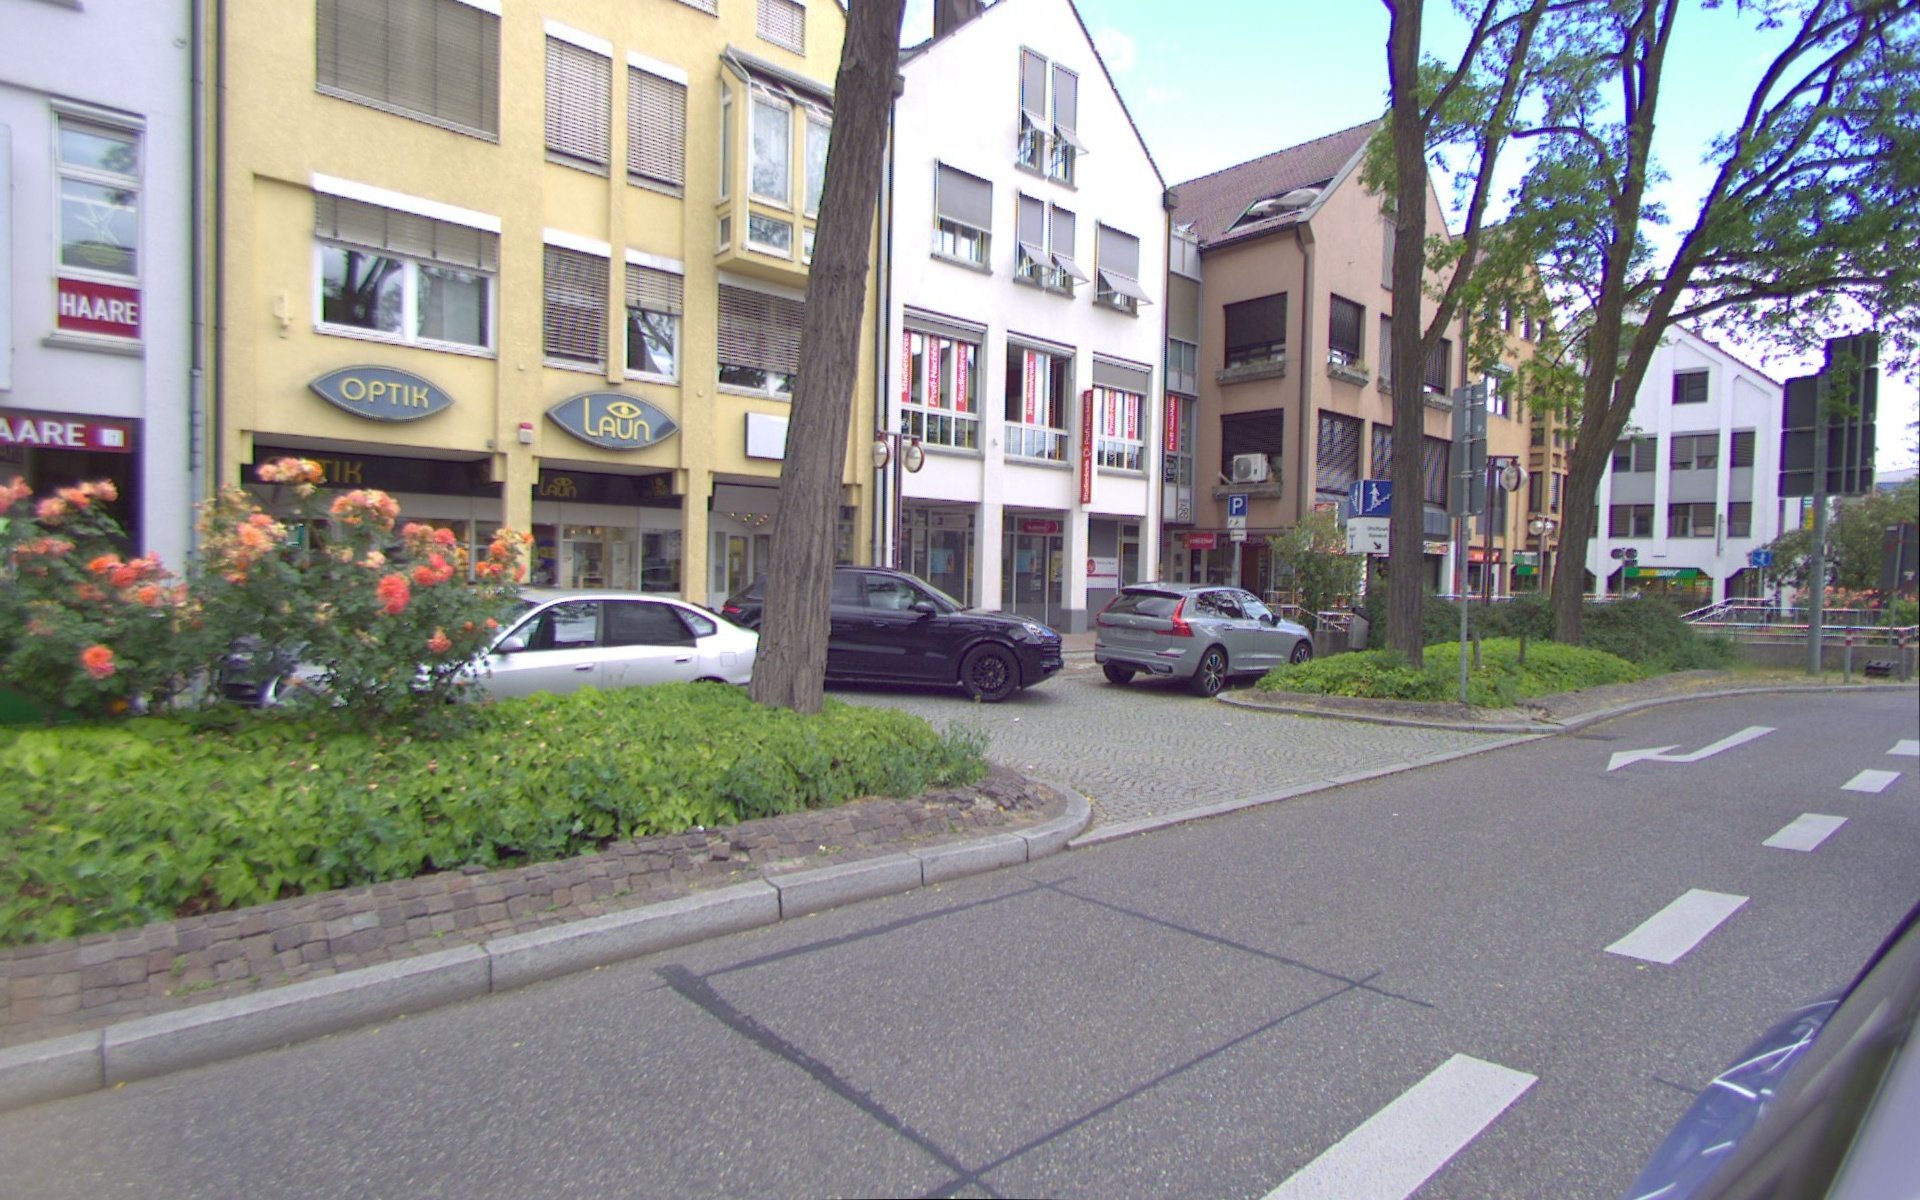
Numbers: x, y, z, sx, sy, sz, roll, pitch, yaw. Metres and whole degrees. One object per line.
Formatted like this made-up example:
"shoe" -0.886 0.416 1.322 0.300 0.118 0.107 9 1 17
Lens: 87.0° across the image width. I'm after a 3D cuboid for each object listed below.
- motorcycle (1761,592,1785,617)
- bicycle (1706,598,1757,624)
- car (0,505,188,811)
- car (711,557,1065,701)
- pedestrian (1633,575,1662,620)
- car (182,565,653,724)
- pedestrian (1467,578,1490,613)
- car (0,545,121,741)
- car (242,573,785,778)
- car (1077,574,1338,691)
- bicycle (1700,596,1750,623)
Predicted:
"motorcycle" 35.180 0.188 43.788 1.961 1.081 0.464 0 1 -41
"bicycle" 31.421 0.427 41.241 1.583 0.981 0.455 2 1 36
"car" -7.543 0.313 6.032 4.528 1.899 1.883 0 3 -43
"car" -0.924 0.332 14.079 4.578 1.690 1.858 2 2 3
"pedestrian" 28.547 -0.092 42.037 0.772 1.846 0.869 0 0 -45
"car" -5.966 0.379 11.440 4.344 1.393 2.000 0 3 -43
"pedestrian" 26.793 -0.229 52.271 0.882 1.779 0.931 2 1 38
"car" -9.425 0.320 7.924 4.320 1.561 1.799 0 3 -43
"car" -3.977 0.532 9.521 4.344 1.468 1.765 0 2 -43
"car" 4.206 0.437 16.731 4.685 1.615 1.995 0 2 -44
"bicycle" 30.809 0.380 40.772 1.584 1.014 0.409 2 1 37
